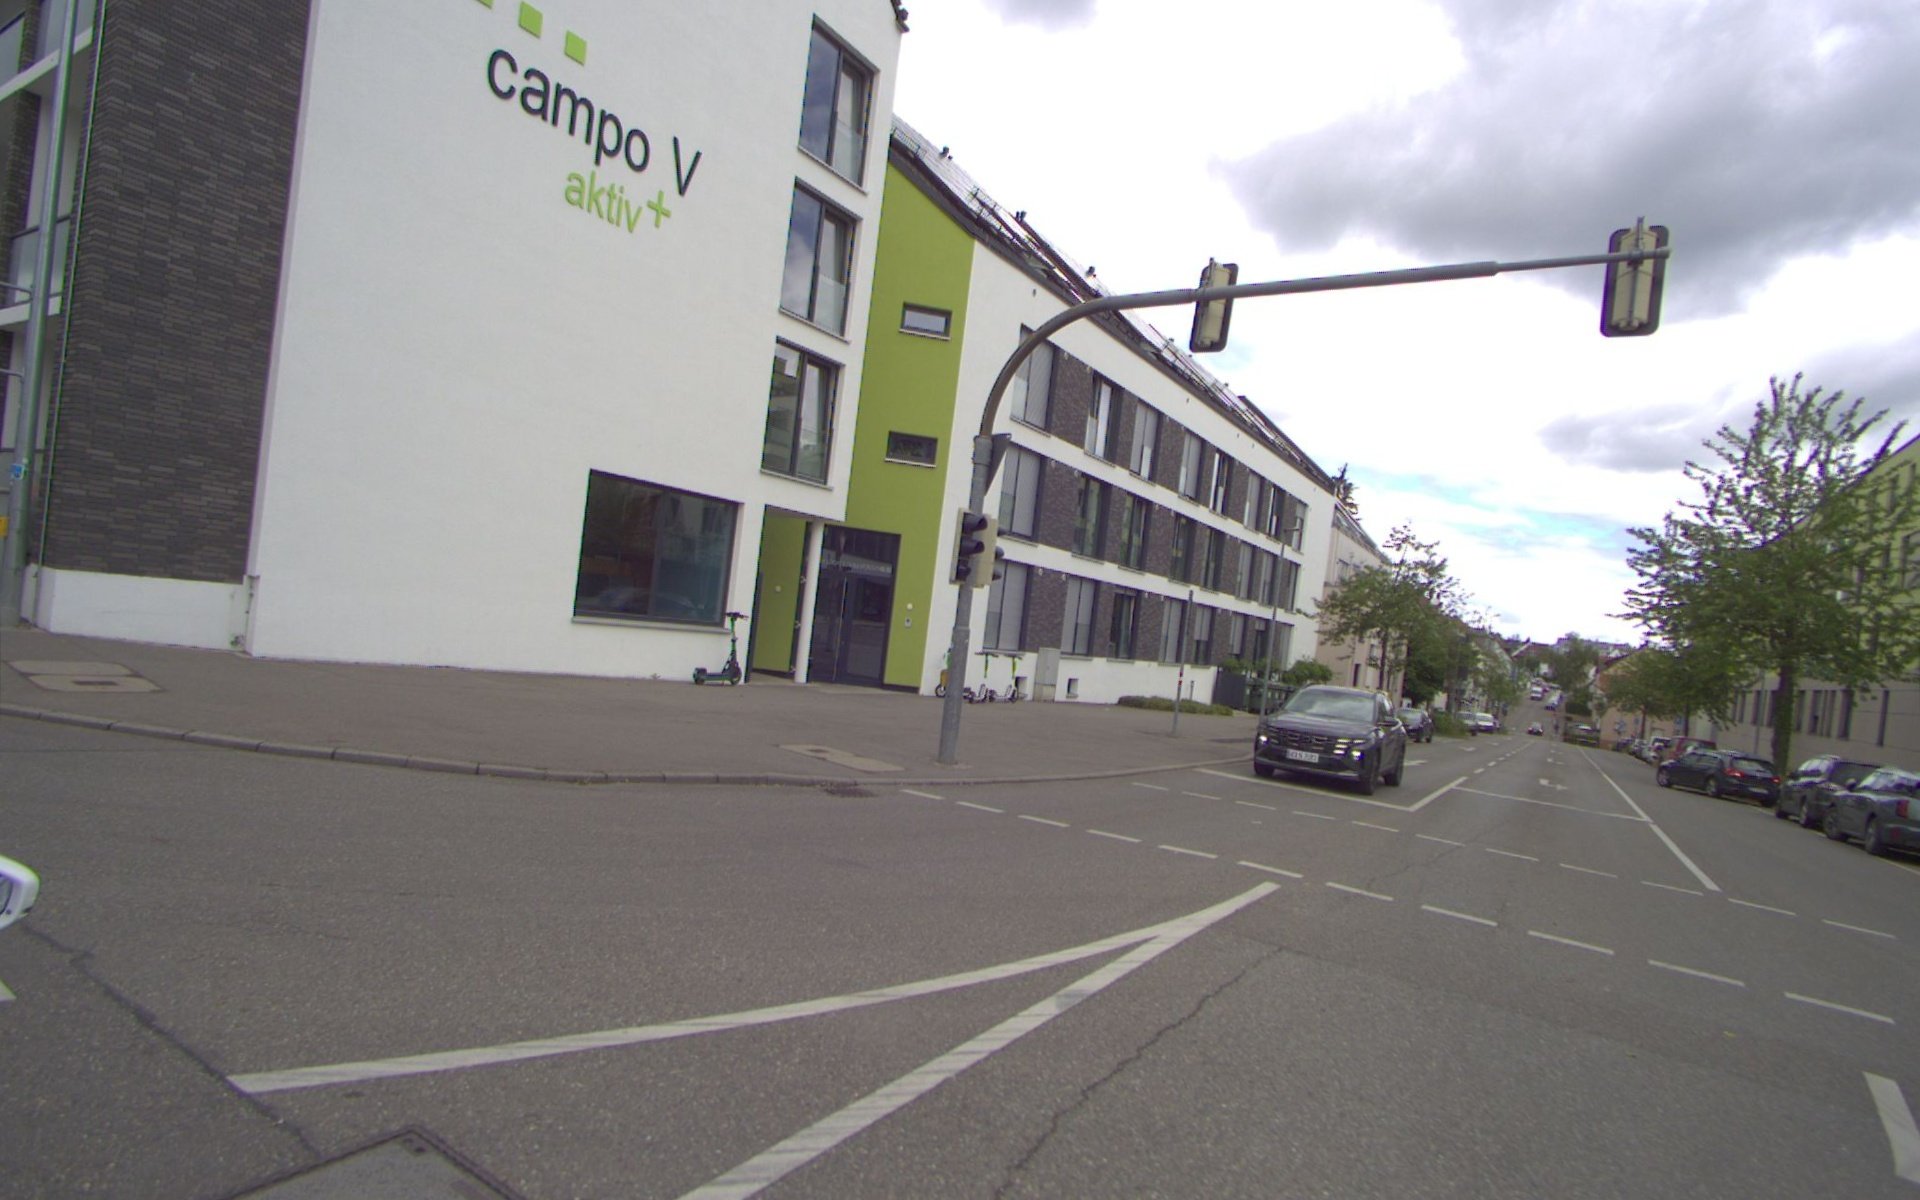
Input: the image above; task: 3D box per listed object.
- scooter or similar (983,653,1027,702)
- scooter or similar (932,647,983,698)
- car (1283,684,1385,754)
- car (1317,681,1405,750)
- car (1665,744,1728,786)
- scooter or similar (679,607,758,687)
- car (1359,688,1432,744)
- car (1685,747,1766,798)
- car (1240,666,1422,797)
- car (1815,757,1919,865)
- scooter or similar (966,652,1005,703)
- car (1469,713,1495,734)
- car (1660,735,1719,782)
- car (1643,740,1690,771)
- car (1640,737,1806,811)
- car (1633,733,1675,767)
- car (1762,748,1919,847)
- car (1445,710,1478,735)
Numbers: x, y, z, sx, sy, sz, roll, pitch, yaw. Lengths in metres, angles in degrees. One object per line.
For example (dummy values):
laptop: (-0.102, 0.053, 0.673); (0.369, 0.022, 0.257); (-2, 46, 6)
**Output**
scooter or similar: (1.114, 1.914, 24.678); (0.358, 1.091, 1.175); (7, -2, 36)
scooter or similar: (-0.046, 1.703, 23.486); (0.359, 1.091, 1.228); (7, -2, 39)
car: (11.020, 3.508, 29.471); (1.779, 1.648, 4.419); (7, -3, 33)
car: (13.737, 3.955, 34.332); (1.779, 1.946, 4.627); (7, -3, 33)
car: (35.519, 7.925, 48.603); (1.937, 1.512, 4.420); (7, -3, 32)
scooter or similar: (-4.143, 0.830, 17.345); (0.400, 1.249, 1.232); (7, -2, 33)
car: (17.187, 4.592, 39.584); (1.779, 1.814, 4.419); (7, -3, 33)
car: (29.883, 6.690, 39.391); (1.937, 1.512, 4.420); (7, -3, 32)
car: (6.406, 2.211, 17.075); (1.920, 1.677, 4.096); (7, -3, 33)
car: (17.853, 3.977, 18.779); (1.936, 1.633, 4.422); (7, -3, 30)
scooter or similar: (0.595, 1.778, 22.949); (0.357, 1.091, 1.233); (7, -2, 21)
car: (48.100, 11.336, 92.751); (1.965, 1.557, 4.805); (7, -2, 28)
car: (38.066, 8.228, 52.600); (1.937, 2.000, 4.420); (7, -3, 32)
car: (44.187, 9.685, 62.990); (1.937, 1.512, 4.420); (7, -3, 32)
car: (23.836, 5.396, 31.680); (1.933, 1.512, 4.430); (8, -2, 4)
car: (47.371, 10.221, 68.726); (1.937, 1.949, 4.420); (7, -3, 32)
car: (20.619, 4.528, 23.647); (1.936, 1.679, 4.422); (7, -3, 30)
car: (36.838, 8.987, 73.782); (1.965, 1.469, 3.998); (7, -2, 28)
